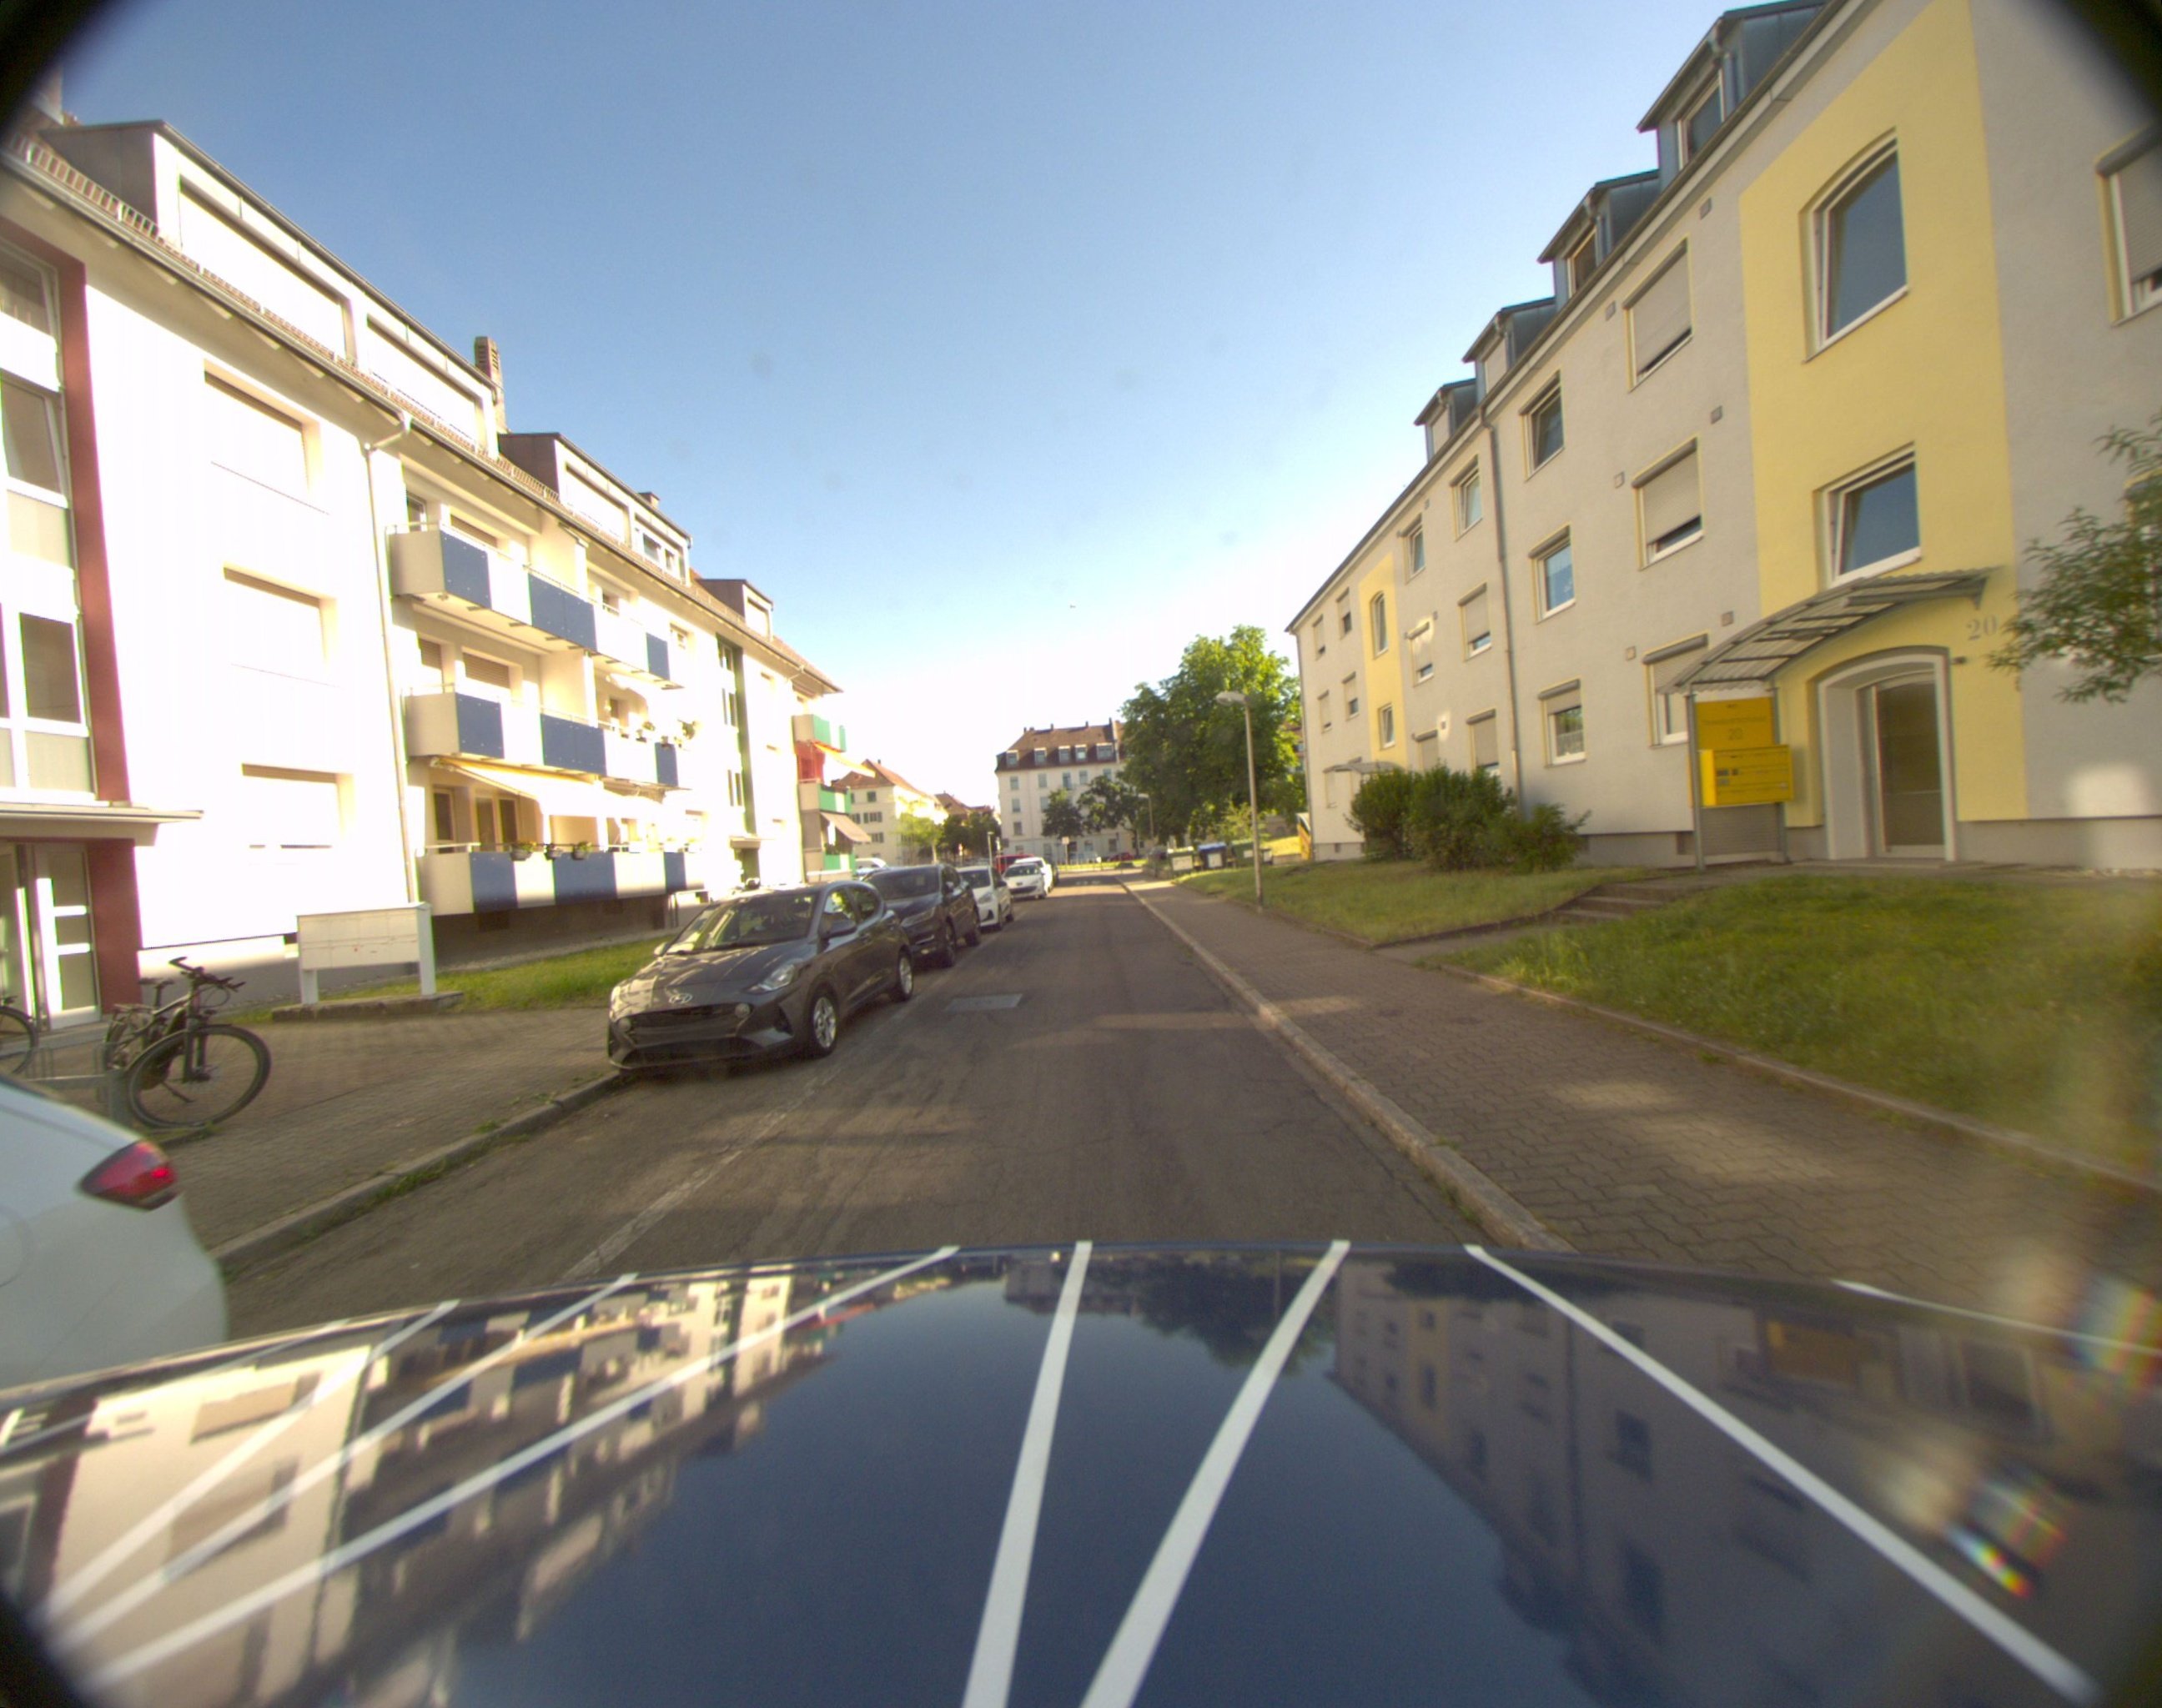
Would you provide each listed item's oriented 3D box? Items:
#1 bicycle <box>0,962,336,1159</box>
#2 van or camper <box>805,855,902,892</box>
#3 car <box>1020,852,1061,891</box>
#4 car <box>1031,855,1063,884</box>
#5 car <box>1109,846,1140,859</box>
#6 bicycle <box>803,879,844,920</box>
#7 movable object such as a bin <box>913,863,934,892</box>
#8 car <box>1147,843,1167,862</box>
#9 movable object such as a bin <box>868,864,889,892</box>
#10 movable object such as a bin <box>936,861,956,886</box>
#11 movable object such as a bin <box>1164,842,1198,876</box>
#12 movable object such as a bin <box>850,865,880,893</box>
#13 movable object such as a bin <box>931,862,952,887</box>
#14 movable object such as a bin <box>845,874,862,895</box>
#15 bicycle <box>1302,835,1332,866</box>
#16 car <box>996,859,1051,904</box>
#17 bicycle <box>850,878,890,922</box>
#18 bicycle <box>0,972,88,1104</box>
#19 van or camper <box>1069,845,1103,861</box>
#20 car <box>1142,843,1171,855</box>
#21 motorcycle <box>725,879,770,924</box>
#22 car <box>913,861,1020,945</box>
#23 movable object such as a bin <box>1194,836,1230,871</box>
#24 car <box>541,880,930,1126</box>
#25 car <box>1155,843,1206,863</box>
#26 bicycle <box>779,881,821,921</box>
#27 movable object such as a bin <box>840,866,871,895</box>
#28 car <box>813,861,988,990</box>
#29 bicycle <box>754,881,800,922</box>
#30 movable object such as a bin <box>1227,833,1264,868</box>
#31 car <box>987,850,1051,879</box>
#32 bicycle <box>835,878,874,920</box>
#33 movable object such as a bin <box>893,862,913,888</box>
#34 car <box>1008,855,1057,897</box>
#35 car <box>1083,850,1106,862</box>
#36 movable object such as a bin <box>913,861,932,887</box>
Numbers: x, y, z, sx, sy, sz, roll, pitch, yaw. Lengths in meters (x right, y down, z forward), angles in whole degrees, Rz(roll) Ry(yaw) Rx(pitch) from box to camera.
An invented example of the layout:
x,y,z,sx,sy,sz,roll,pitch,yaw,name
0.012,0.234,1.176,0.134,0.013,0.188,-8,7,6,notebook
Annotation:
x,y,z,sx,sy,sz,roll,pitch,yaw,name
-6.974,1.464,5.495,2.429,1.123,0.879,-4,1,7,bicycle
-18.298,1.520,61.355,6.980,2.486,2.177,-4,1,3,van or camper
-2.205,0.924,42.371,1.855,1.790,4.253,-8,0,0,car
-2.115,0.928,47.992,1.728,1.528,3.951,-7,0,-1,car
5.815,-0.227,101.709,3.996,1.477,1.722,-4,1,3,car
-7.902,1.385,23.399,0.545,1.114,1.873,-3,0,0,bicycle
-8.298,1.246,40.103,0.866,1.439,0.922,-4,1,-3,movable object such as a bin
6.917,-0.143,69.506,1.678,1.645,3.305,-4,0,5,car
-11.783,1.393,44.211,0.866,1.511,0.922,-4,1,-1,movable object such as a bin
-7.805,1.111,43.975,0.921,1.390,0.866,-4,1,-1,movable object such as a bin
4.776,0.237,36.413,1.318,1.451,1.198,-8,1,1,movable object such as a bin
-12.240,1.406,43.062,1.239,1.439,1.278,-4,1,-1,movable object such as a bin
-7.827,1.147,42.749,0.921,1.318,0.866,-4,1,-1,movable object such as a bin
-12.128,1.628,40.509,0.718,1.047,0.580,-1,1,-1,movable object such as a bin
10.193,-0.164,32.880,0.641,1.243,2.009,-5,1,1,bicycle
-2.182,1.022,29.852,1.695,1.410,4.097,-7,0,0,car
-6.249,1.334,22.593,0.546,1.163,1.873,-3,1,2,bicycle
-9.625,1.648,5.978,0.521,1.043,2.288,-2,0,1,bicycle
0.648,-0.171,102.117,4.355,1.852,2.000,-4,1,-1,van or camper
10.097,-0.681,101.608,3.787,1.437,1.625,-4,1,3,car
-10.344,1.451,23.648,0.442,1.231,1.977,-3,0,1,motorcycle
-2.547,1.039,17.786,1.717,1.501,3.853,-7,0,0,car
6.285,-0.029,36.454,1.358,1.451,1.082,-9,1,1,movable object such as a bin
-2.921,1.160,7.539,1.650,1.441,4.061,-6,0,4,car
8.639,-0.076,66.321,4.140,1.488,1.729,-4,1,1,car
-8.619,1.427,23.383,0.539,1.076,1.873,-2,0,0,bicycle
-12.337,1.455,41.655,1.239,1.439,1.278,-4,1,-2,movable object such as a bin
-2.713,0.997,12.483,1.728,1.569,4.352,-4,0,0,car
-9.346,1.443,23.453,0.598,1.109,1.873,-4,0,0,bicycle
7.877,-0.165,36.452,1.363,1.445,1.073,-9,1,1,movable object such as a bin
-5.147,0.839,63.830,4.992,2.002,2.000,-4,1,4,car
-6.948,1.353,23.351,0.579,1.126,1.873,-3,0,0,bicycle
-10.304,1.209,44.063,0.866,1.439,0.922,-4,1,-3,movable object such as a bin
-2.162,0.960,35.164,1.805,1.583,4.581,-6,0,0,car
1.917,0.222,107.244,3.192,1.499,1.545,-3,1,1,car
-9.190,1.176,44.197,0.866,1.439,0.922,-4,1,-3,movable object such as a bin
